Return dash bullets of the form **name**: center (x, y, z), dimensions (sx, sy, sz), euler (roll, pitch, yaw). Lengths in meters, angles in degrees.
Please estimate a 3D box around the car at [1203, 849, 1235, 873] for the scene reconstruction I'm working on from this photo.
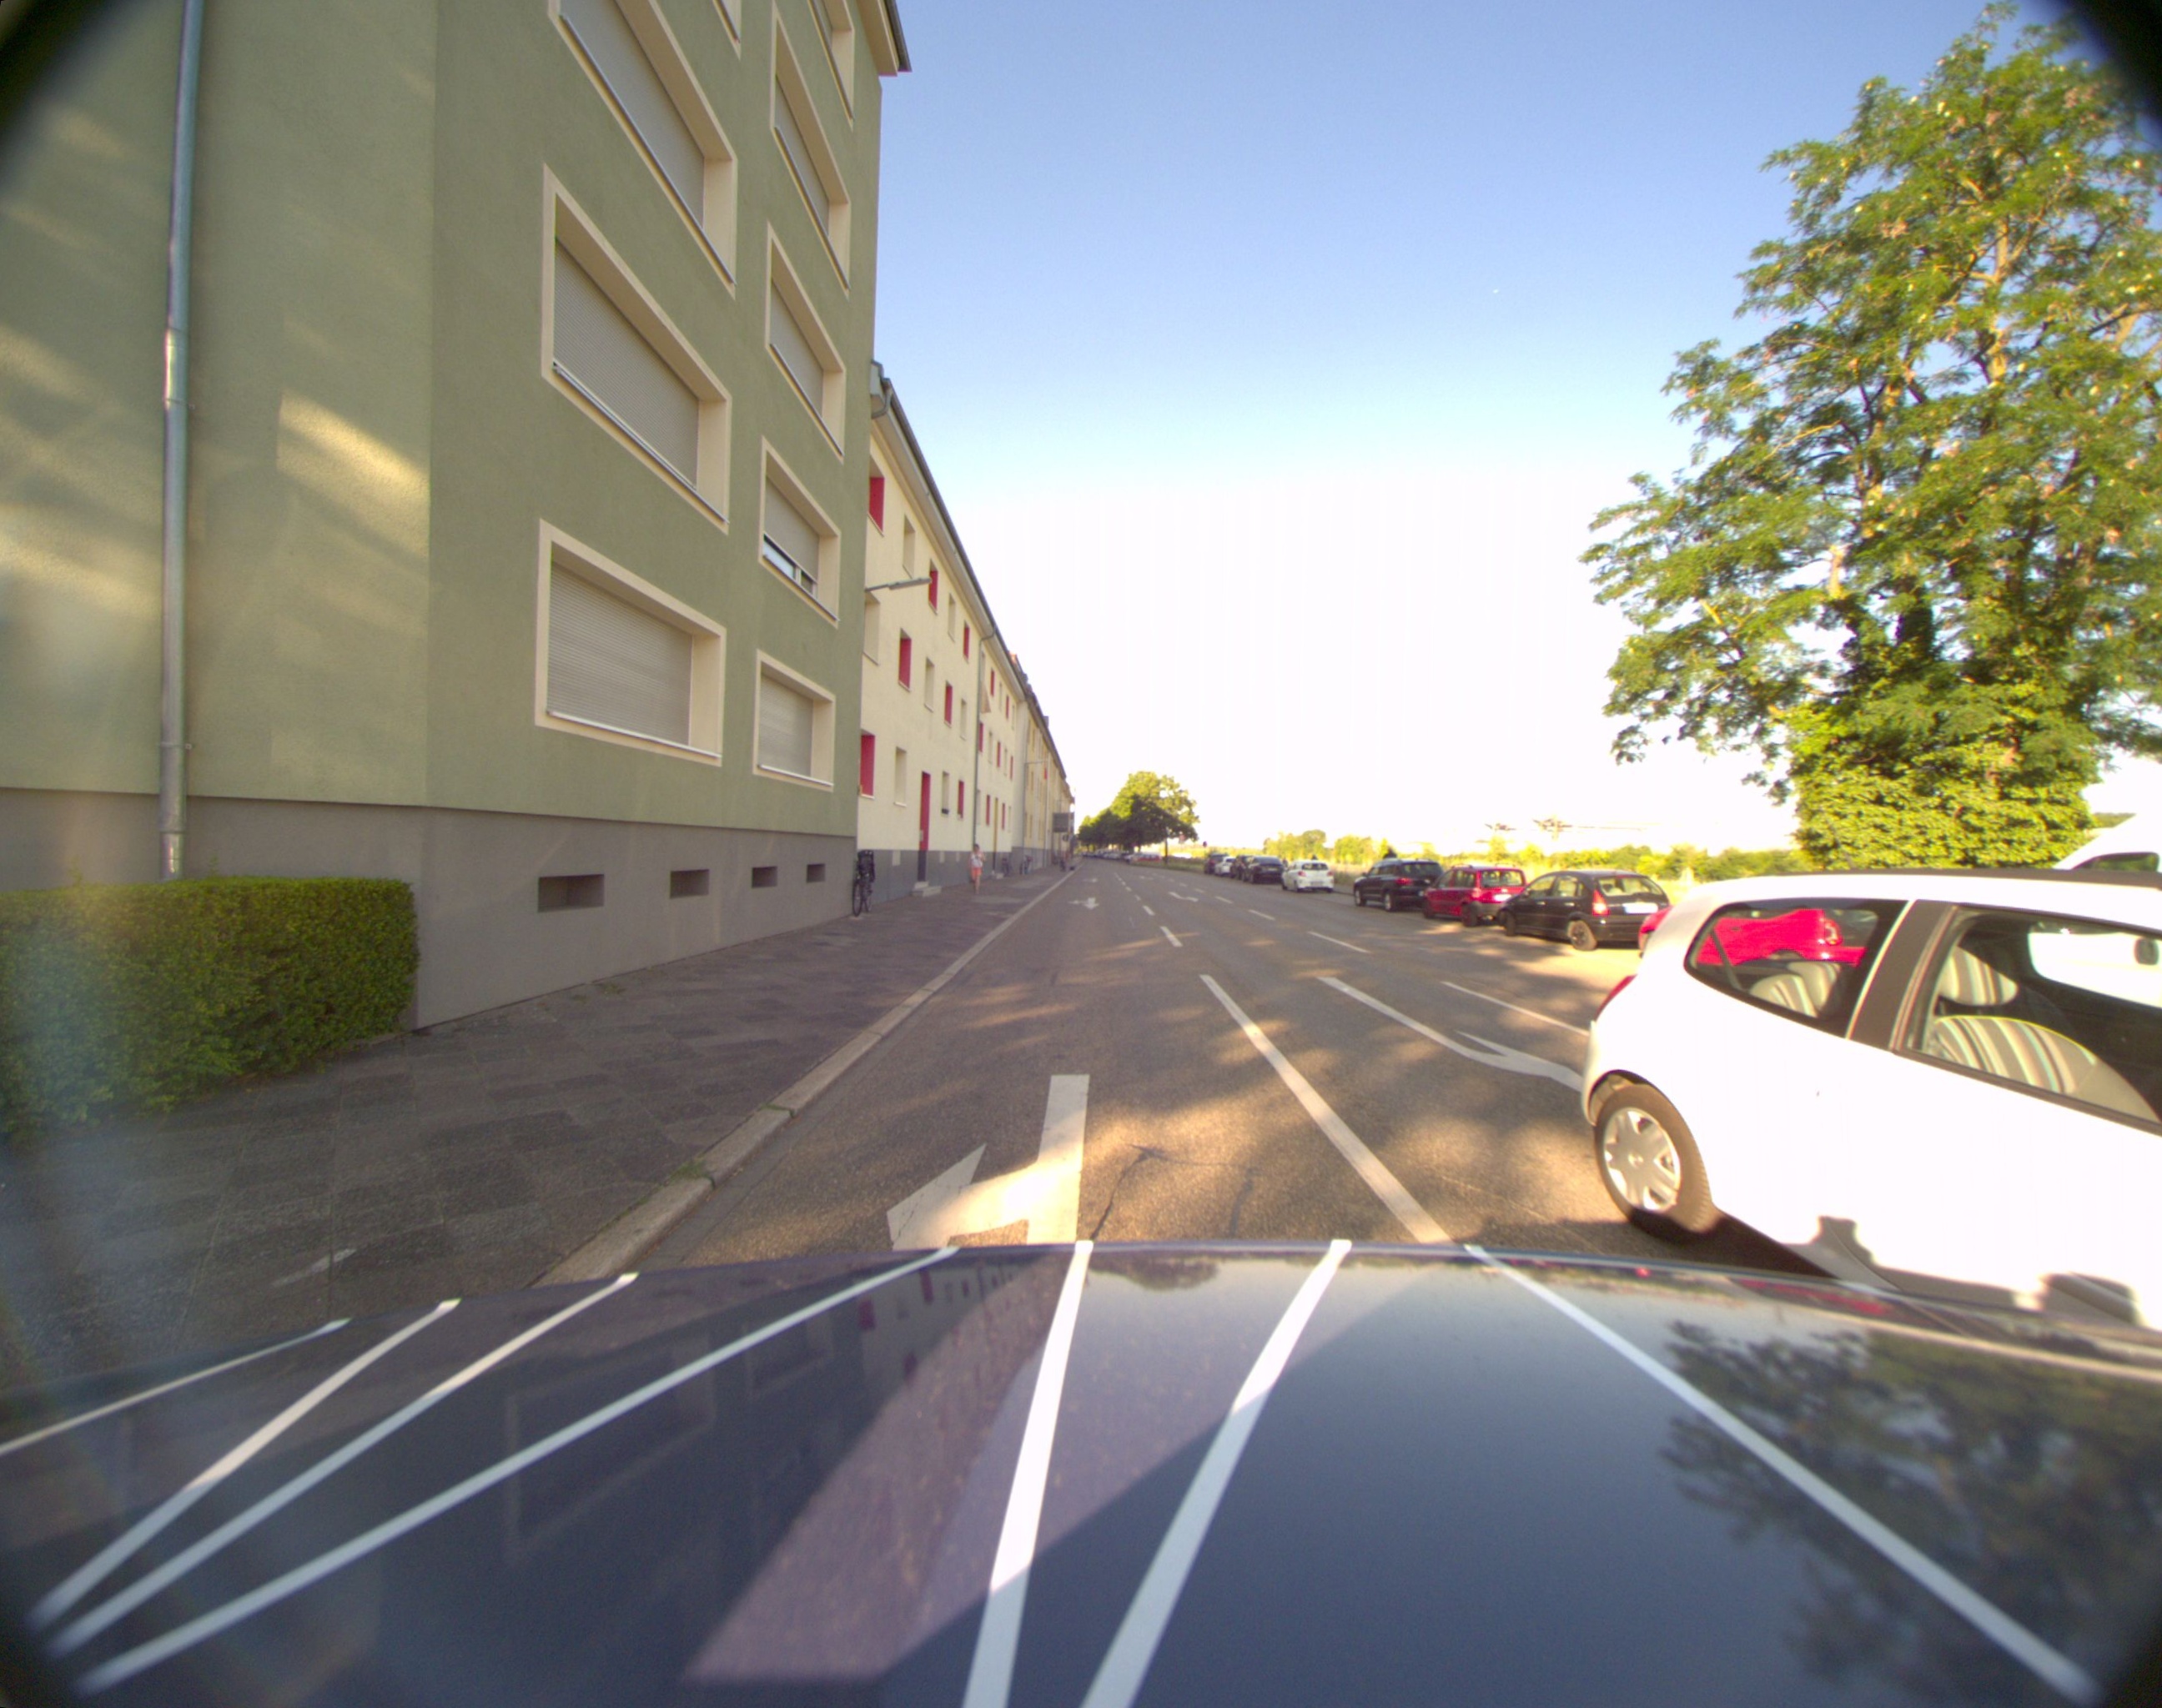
- **car**: center (11.005, 0.521, 60.979), dimensions (1.890, 1.765, 4.220), euler (2, 1, 2)

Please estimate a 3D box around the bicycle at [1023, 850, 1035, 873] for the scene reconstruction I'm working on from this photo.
- **bicycle**: center (-3.161, 0.431, 46.305), dimensions (0.517, 1.318, 2.210), euler (2, 1, 2)

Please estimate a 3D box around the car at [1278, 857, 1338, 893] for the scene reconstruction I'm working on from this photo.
- **car**: center (10.412, 0.918, 35.067), dimensions (1.706, 1.517, 3.583), euler (2, 1, 1)

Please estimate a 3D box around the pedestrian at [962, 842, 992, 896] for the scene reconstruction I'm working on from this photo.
- **pedestrian**: center (-3.378, 0.469, 24.793), dimensions (0.787, 1.697, 0.950), euler (3, 1, 1)

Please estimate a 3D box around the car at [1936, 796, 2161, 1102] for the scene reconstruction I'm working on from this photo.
- **car**: center (9.687, 0.746, 4.818), dimensions (2.235, 2.422, 5.559), euler (-1, 1, -1)

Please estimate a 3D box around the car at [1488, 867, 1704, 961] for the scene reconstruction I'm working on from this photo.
- **car**: center (10.170, 1.103, 15.409), dimensions (1.745, 1.521, 3.816), euler (2, 1, 0)

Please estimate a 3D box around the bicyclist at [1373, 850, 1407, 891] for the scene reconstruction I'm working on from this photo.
- **bicyclist**: center (12.530, 0.650, 30.813), dimensions (0.866, 1.587, 1.146), euler (2, 1, 0)

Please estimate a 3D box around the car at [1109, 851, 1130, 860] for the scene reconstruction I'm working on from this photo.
- **car**: center (7.494, 0.251, 149.732), dimensions (3.997, 1.708, 2.000), euler (2, 1, -1)

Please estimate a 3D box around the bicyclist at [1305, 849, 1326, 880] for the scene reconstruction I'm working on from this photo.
- **bicyclist**: center (12.600, 0.546, 40.827), dimensions (0.768, 1.587, 1.146), euler (2, 1, 2)

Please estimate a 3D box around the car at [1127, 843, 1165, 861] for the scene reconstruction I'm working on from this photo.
- **car**: center (9.526, -0.300, 112.240), dimensions (5.322, 2.398, 2.266), euler (-2, 1, 0)

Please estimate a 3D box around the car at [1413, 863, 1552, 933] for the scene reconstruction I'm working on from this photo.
- **car**: center (10.263, 1.061, 19.726), dimensions (1.664, 1.521, 3.579), euler (2, 1, 0)

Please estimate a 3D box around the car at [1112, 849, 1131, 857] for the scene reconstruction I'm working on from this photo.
- **car**: center (9.203, -0.225, 173.163), dimensions (3.997, 1.708, 2.000), euler (2, 1, -1)

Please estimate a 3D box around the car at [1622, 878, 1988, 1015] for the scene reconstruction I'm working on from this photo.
- **car**: center (10.067, 1.177, 11.040), dimensions (1.745, 1.478, 3.694), euler (2, 1, 0)

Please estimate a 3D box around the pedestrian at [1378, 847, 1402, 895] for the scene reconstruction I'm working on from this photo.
- **pedestrian**: center (13.214, 0.712, 32.505), dimensions (0.615, 2.002, 0.730), euler (2, 1, -1)

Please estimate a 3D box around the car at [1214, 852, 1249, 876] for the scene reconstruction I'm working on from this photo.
- **car**: center (10.856, 0.705, 55.094), dimensions (1.823, 1.565, 4.220), euler (2, 0, 2)

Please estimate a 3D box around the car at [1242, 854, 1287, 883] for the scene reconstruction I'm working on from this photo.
- **car**: center (10.573, 0.810, 44.001), dimensions (1.823, 1.517, 4.291), euler (2, 0, 5)

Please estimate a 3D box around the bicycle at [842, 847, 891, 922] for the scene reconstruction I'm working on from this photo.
- **bicycle**: center (-4.310, 0.574, 15.369), dimensions (0.517, 1.404, 1.873), euler (2, 1, -3)

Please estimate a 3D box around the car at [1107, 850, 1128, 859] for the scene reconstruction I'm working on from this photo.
- **car**: center (7.427, 0.192, 155.314), dimensions (3.997, 1.708, 2.000), euler (2, 1, -1)

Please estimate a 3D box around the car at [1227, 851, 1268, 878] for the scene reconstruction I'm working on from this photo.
- **car**: center (10.850, 0.680, 49.701), dimensions (1.823, 1.628, 4.220), euler (2, 1, 2)

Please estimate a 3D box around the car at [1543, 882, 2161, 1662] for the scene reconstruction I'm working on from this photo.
- **car**: center (3.012, 0.894, 1.607), dimensions (1.705, 1.460, 3.775), euler (2, 1, -1)

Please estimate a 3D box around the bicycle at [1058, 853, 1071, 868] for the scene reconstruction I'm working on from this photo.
- **bicycle**: center (-1.245, 0.490, 56.840), dimensions (0.651, 1.091, 2.201), euler (1, 1, -8)

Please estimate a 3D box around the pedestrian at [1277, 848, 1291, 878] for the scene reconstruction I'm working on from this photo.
- **pedestrian**: center (13.893, 0.587, 52.007), dimensions (0.706, 2.002, 0.710), euler (2, 1, 2)

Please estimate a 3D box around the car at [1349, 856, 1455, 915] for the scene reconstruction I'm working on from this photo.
- **car**: center (10.142, 0.947, 24.347), dimensions (1.664, 1.649, 4.005), euler (2, 1, 0)

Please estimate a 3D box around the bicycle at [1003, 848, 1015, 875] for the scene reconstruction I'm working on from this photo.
- **bicycle**: center (-3.931, 0.381, 41.373), dimensions (0.517, 1.404, 1.873), euler (2, 1, -3)
